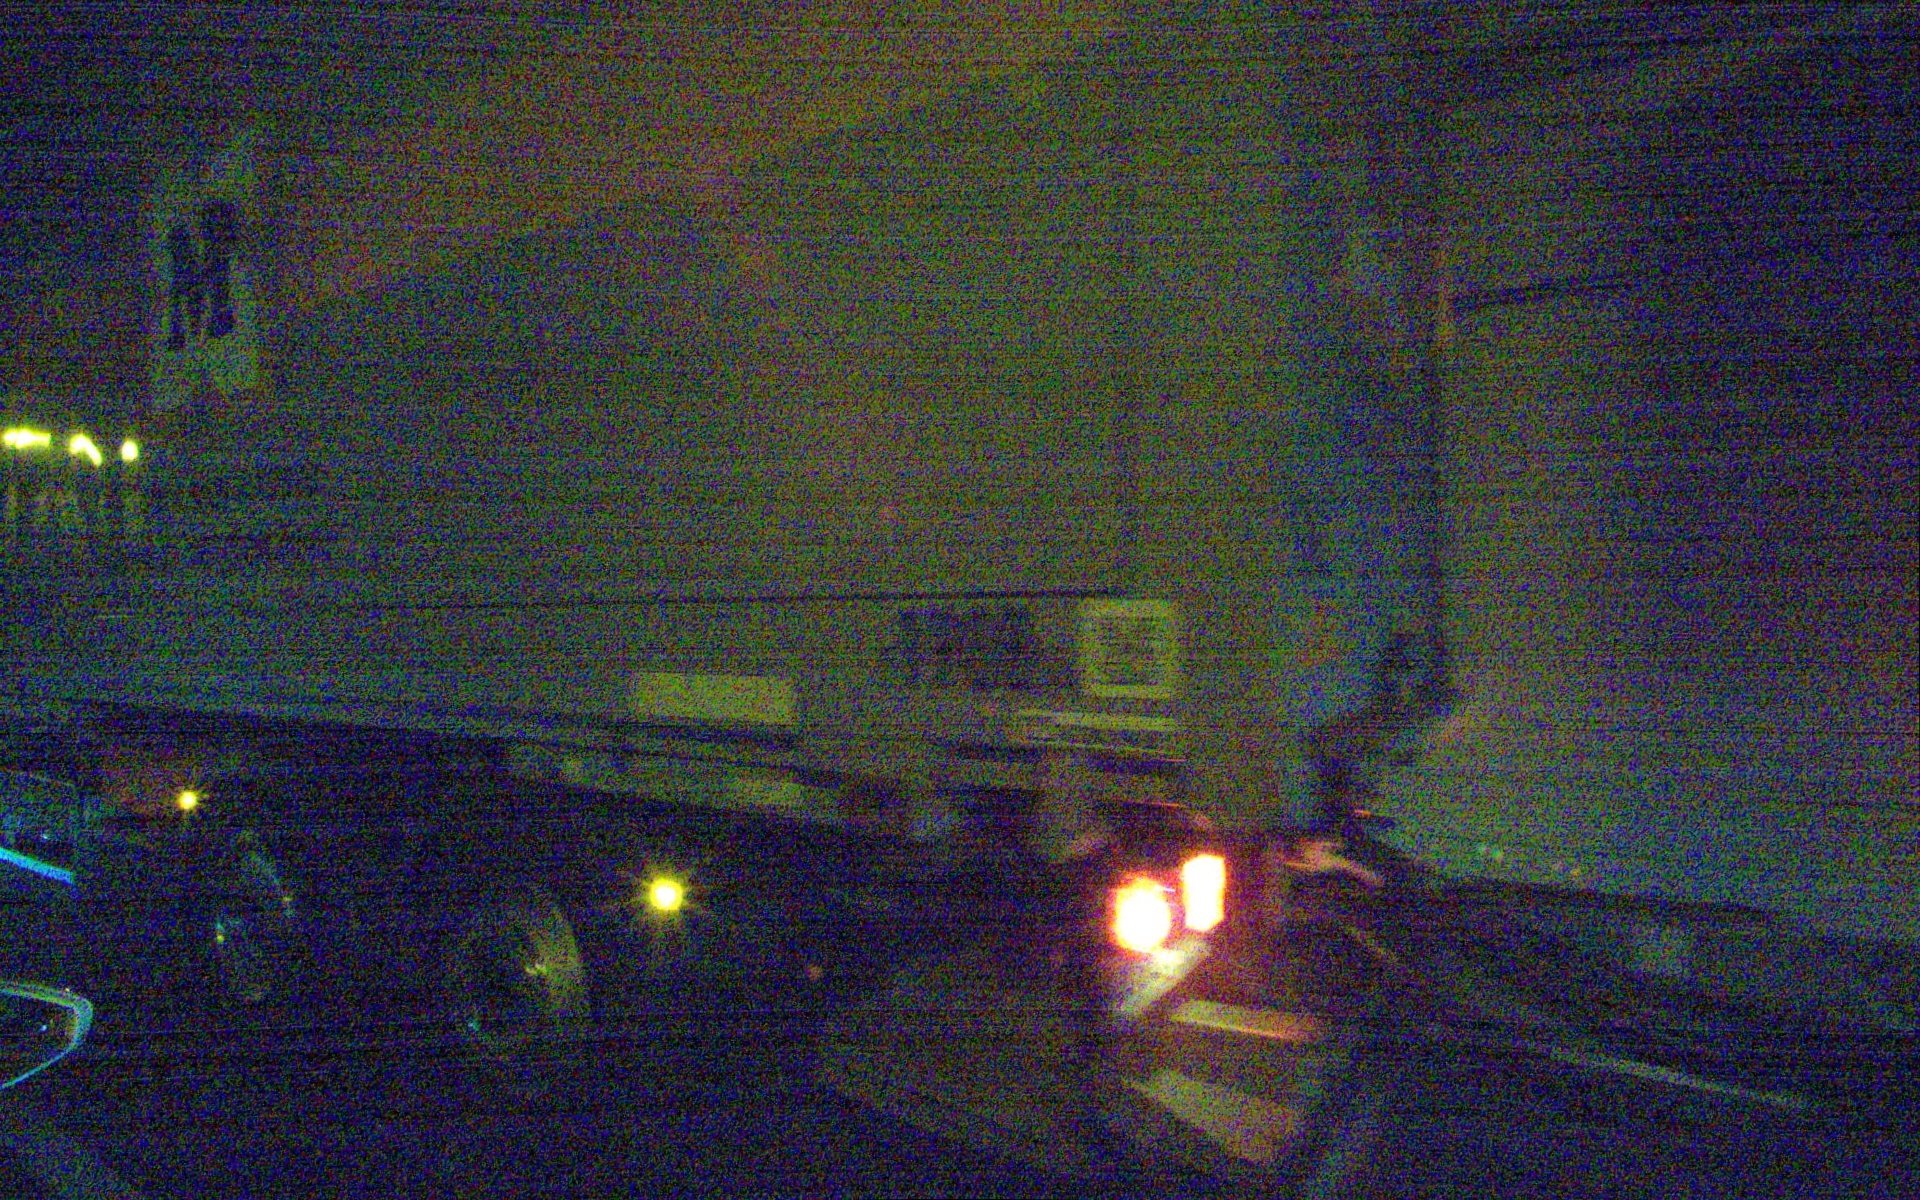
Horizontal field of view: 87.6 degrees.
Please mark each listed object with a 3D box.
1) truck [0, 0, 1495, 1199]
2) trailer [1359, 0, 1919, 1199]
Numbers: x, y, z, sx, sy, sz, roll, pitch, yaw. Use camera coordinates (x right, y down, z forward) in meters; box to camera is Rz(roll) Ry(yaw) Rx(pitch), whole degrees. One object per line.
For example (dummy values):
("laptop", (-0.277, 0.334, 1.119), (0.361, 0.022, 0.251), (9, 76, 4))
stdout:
("truck", (-2.855, -0.485, 5.172), (9.767, 3.965, 2.883), (0, 0, 32))
("trailer", (5.011, -0.559, 0.229), (8.818, 3.909, 2.870), (0, 0, 32))
